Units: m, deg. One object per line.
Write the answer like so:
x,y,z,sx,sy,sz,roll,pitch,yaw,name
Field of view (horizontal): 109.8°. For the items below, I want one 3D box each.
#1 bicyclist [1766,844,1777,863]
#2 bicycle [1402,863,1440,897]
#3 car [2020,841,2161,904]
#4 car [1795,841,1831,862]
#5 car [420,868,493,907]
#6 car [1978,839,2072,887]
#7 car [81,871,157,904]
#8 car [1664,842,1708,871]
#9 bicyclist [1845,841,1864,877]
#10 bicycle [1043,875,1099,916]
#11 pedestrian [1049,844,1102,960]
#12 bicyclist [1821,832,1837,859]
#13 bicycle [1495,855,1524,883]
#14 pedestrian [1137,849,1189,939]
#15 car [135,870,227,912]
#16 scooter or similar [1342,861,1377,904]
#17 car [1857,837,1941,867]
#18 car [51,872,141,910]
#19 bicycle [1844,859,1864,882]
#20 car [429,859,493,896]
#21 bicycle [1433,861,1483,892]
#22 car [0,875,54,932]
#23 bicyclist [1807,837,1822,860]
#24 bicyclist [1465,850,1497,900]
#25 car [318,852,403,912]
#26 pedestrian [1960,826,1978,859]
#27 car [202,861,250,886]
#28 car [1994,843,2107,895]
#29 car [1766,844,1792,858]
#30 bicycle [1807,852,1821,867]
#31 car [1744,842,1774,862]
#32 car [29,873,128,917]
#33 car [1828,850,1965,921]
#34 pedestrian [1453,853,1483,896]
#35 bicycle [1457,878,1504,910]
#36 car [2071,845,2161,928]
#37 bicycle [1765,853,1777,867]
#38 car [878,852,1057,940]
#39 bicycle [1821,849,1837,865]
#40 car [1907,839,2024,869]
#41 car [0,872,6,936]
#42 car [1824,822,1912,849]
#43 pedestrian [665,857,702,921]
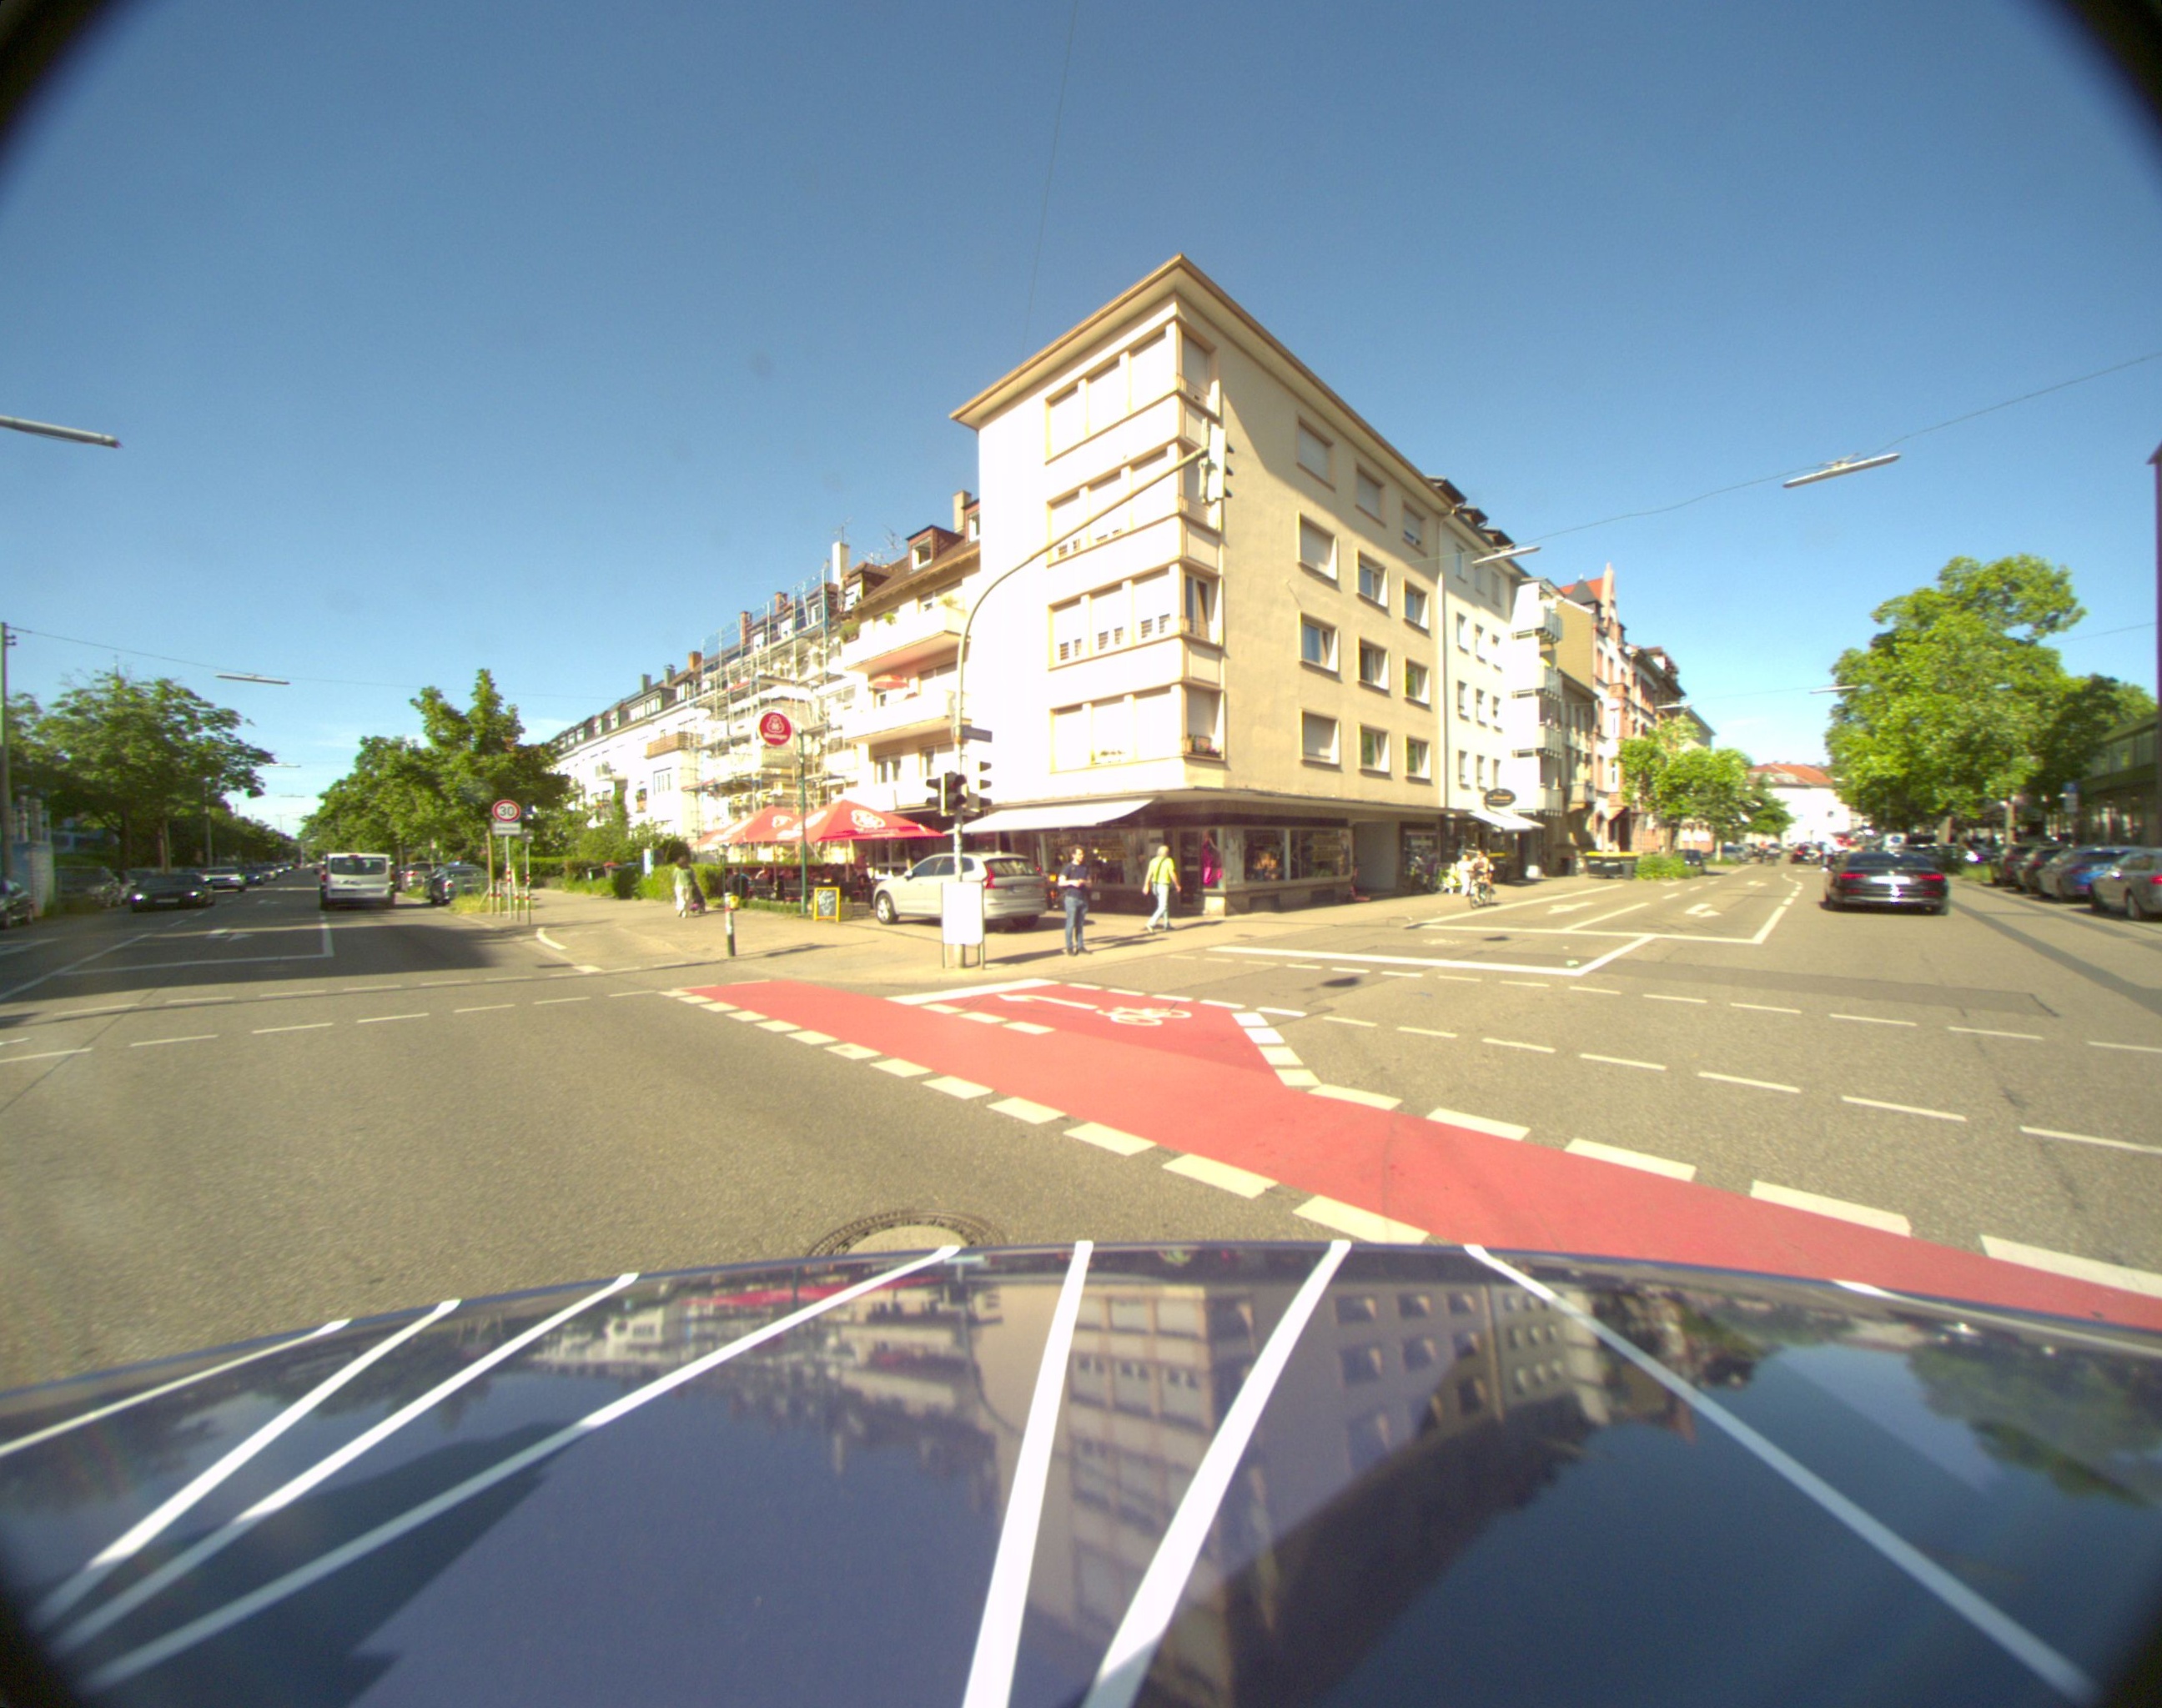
48.961,-0.037,53.898,0.543,1.383,0.790,0,1,45,bicyclist
11.660,0.860,26.021,1.804,1.079,0.406,-1,4,-40,bicycle
27.041,0.443,20.264,1.824,1.494,4.811,-3,-1,43,car
54.863,-0.195,56.956,1.907,1.543,4.008,0,1,44,car
-23.840,1.220,28.964,3.988,1.307,1.717,0,1,45,car
34.128,0.308,27.564,4.166,1.567,1.724,-1,-1,-44,car
-43.586,1.490,34.492,1.689,1.329,3.512,-1,1,-44,car
34.680,0.122,43.527,1.624,1.587,3.554,0,1,45,car
32.327,0.203,31.774,0.543,1.512,0.775,0,1,45,bicyclist
-0.295,1.089,20.433,0.568,1.011,1.890,-1,1,-34,bicycle
-0.084,0.756,12.336,0.627,1.812,0.607,0,1,30,pedestrian
45.498,-0.544,46.238,0.680,1.621,0.901,-1,1,45,bicyclist
18.821,0.633,33.378,0.596,1.137,1.777,4,4,45,bicycle
1.670,0.794,15.411,0.764,1.748,0.662,-2,1,-40,pedestrian
-34.162,1.342,28.946,1.873,1.368,3.988,-3,2,-45,car
8.332,0.835,22.736,0.526,1.218,1.231,0,1,45,scooter or similar
56.102,-0.137,52.183,1.916,2.031,3.868,-2,1,-43,car
-39.567,1.443,30.611,1.689,1.329,3.512,-1,1,-44,car
32.229,0.657,31.682,0.543,0.897,1.830,0,1,45,bicycle
-26.890,0.971,32.914,1.717,1.445,3.988,-1,1,-45,car
13.640,0.798,27.546,1.492,1.100,0.724,0,1,13,bicycle
-29.961,1.347,20.766,1.689,1.404,3.512,-1,1,-45,car
51.910,-0.393,53.768,0.680,1.567,0.901,2,3,45,bicyclist
11.235,0.589,21.318,0.666,1.369,0.581,-2,1,-41,bicyclist
-25.987,0.980,27.334,5.042,1.928,1.978,-2,0,44,car
48.657,-0.632,41.633,0.503,1.796,0.621,-2,1,-44,pedestrian
-51.965,1.148,46.235,1.689,1.404,3.512,-1,1,-45,car
30.410,0.439,23.950,4.166,1.458,1.724,-1,-1,-44,car
66.127,-0.262,71.984,3.554,1.270,1.624,-1,1,-44,car
51.986,0.387,53.902,0.680,0.947,1.937,2,3,45,bicycle
55.739,-0.203,62.463,1.624,1.587,3.554,0,1,45,car
-36.870,1.449,28.032,1.689,1.404,3.512,-1,1,-45,car
19.159,0.642,18.038,1.805,1.405,4.435,2,2,42,car
13.195,0.698,25.892,0.774,1.434,0.626,0,1,40,pedestrian
11.216,1.108,21.307,1.712,0.801,0.581,-1,1,-41,bicycle
22.477,0.593,15.601,1.824,1.494,4.811,-3,-1,43,car
48.976,0.421,53.912,0.543,0.897,1.830,0,1,45,bicycle
-2.569,0.814,16.550,1.829,1.653,3.988,-2,1,-45,car
45.530,0.162,46.255,0.680,0.946,1.937,-1,0,45,bicycle
47.304,-0.003,40.769,1.916,1.543,3.988,-1,1,-43,car
-26.140,1.233,16.823,2.004,1.565,3.988,-1,1,-45,car
74.923,-1.736,72.469,5.545,2.379,1.982,0,1,38,car
-10.294,0.888,19.673,0.593,1.608,0.646,0,1,40,pedestrian
